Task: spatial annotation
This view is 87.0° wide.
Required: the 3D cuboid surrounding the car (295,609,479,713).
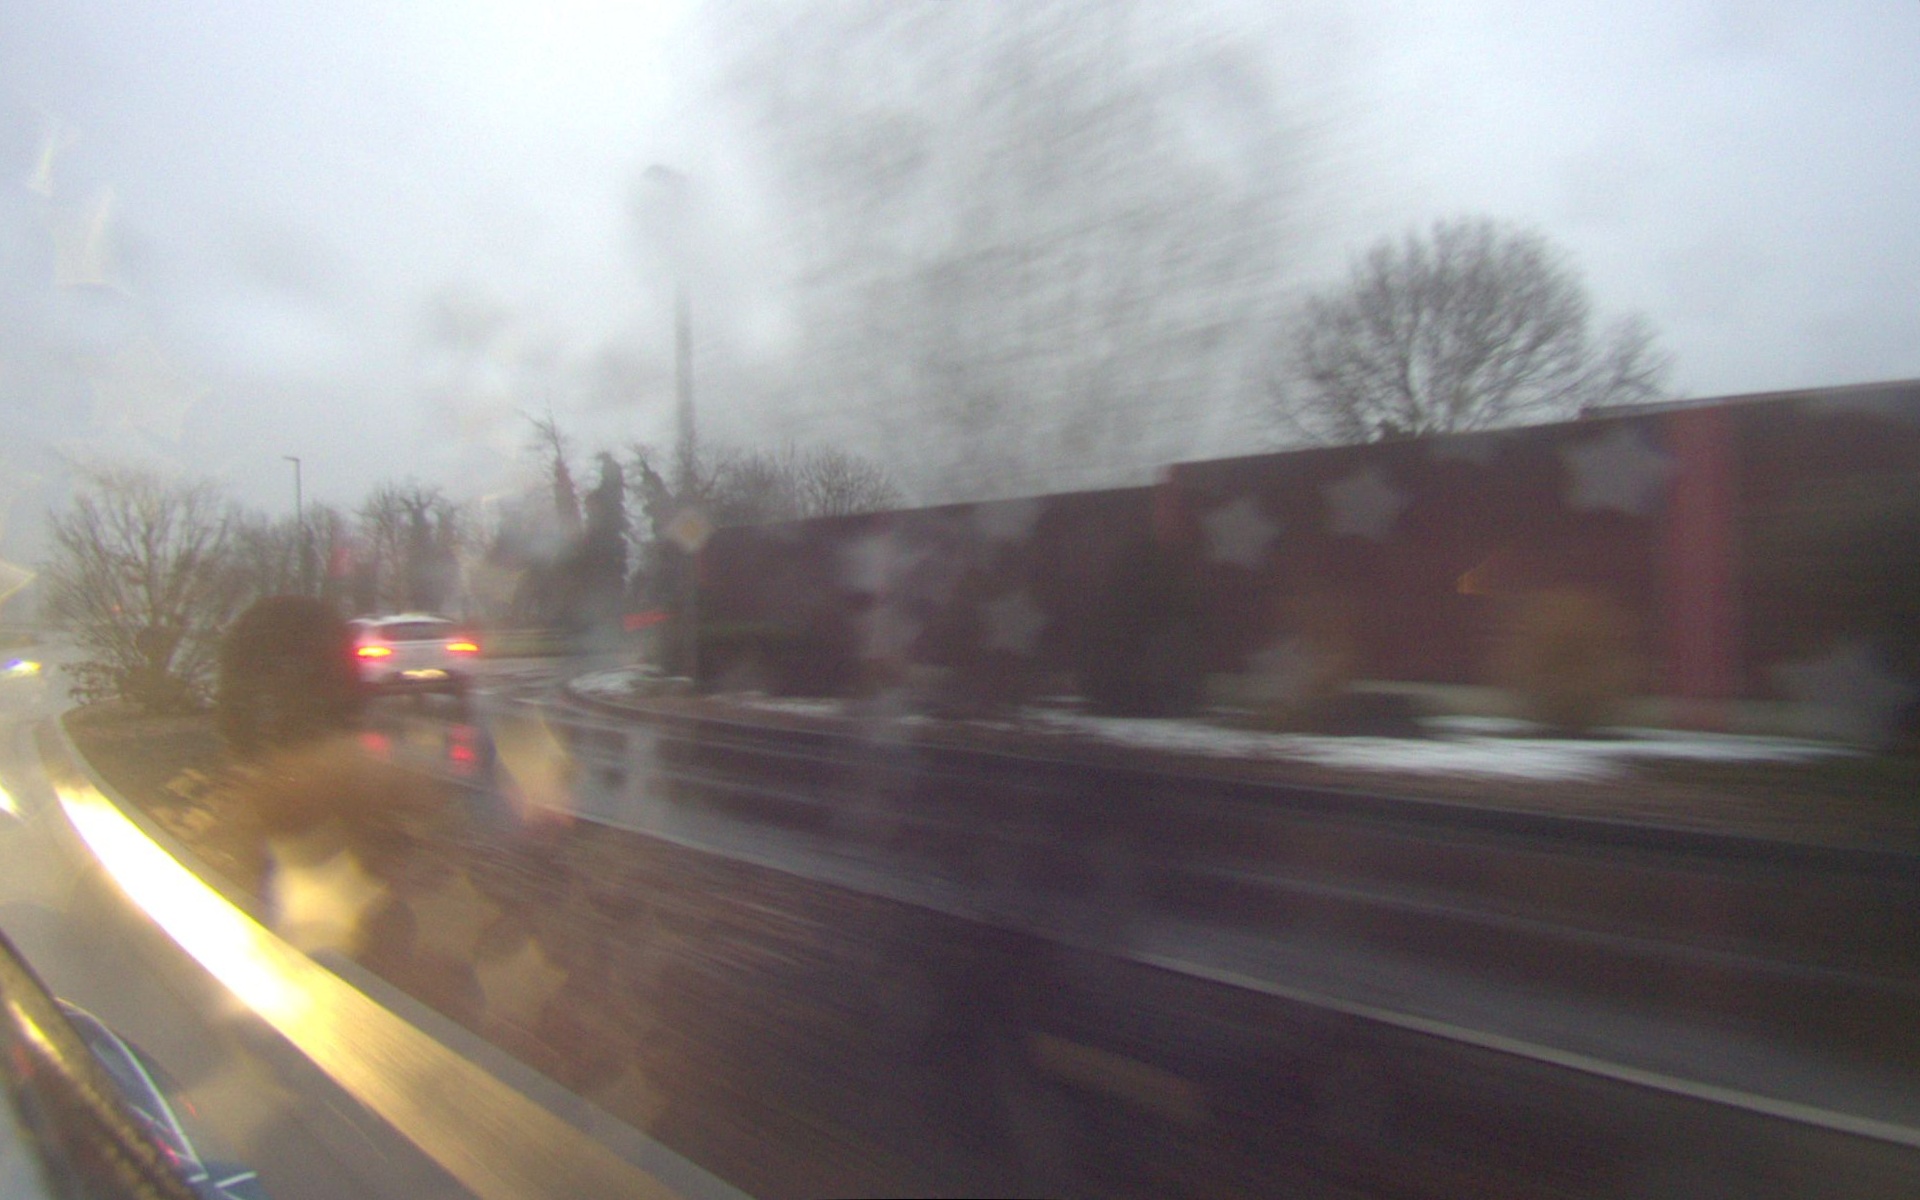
[{"bbox_3d":[-10.152,0.977,17.823,3.884,1.590,1.676,0,0,42],"label":"car"}]
